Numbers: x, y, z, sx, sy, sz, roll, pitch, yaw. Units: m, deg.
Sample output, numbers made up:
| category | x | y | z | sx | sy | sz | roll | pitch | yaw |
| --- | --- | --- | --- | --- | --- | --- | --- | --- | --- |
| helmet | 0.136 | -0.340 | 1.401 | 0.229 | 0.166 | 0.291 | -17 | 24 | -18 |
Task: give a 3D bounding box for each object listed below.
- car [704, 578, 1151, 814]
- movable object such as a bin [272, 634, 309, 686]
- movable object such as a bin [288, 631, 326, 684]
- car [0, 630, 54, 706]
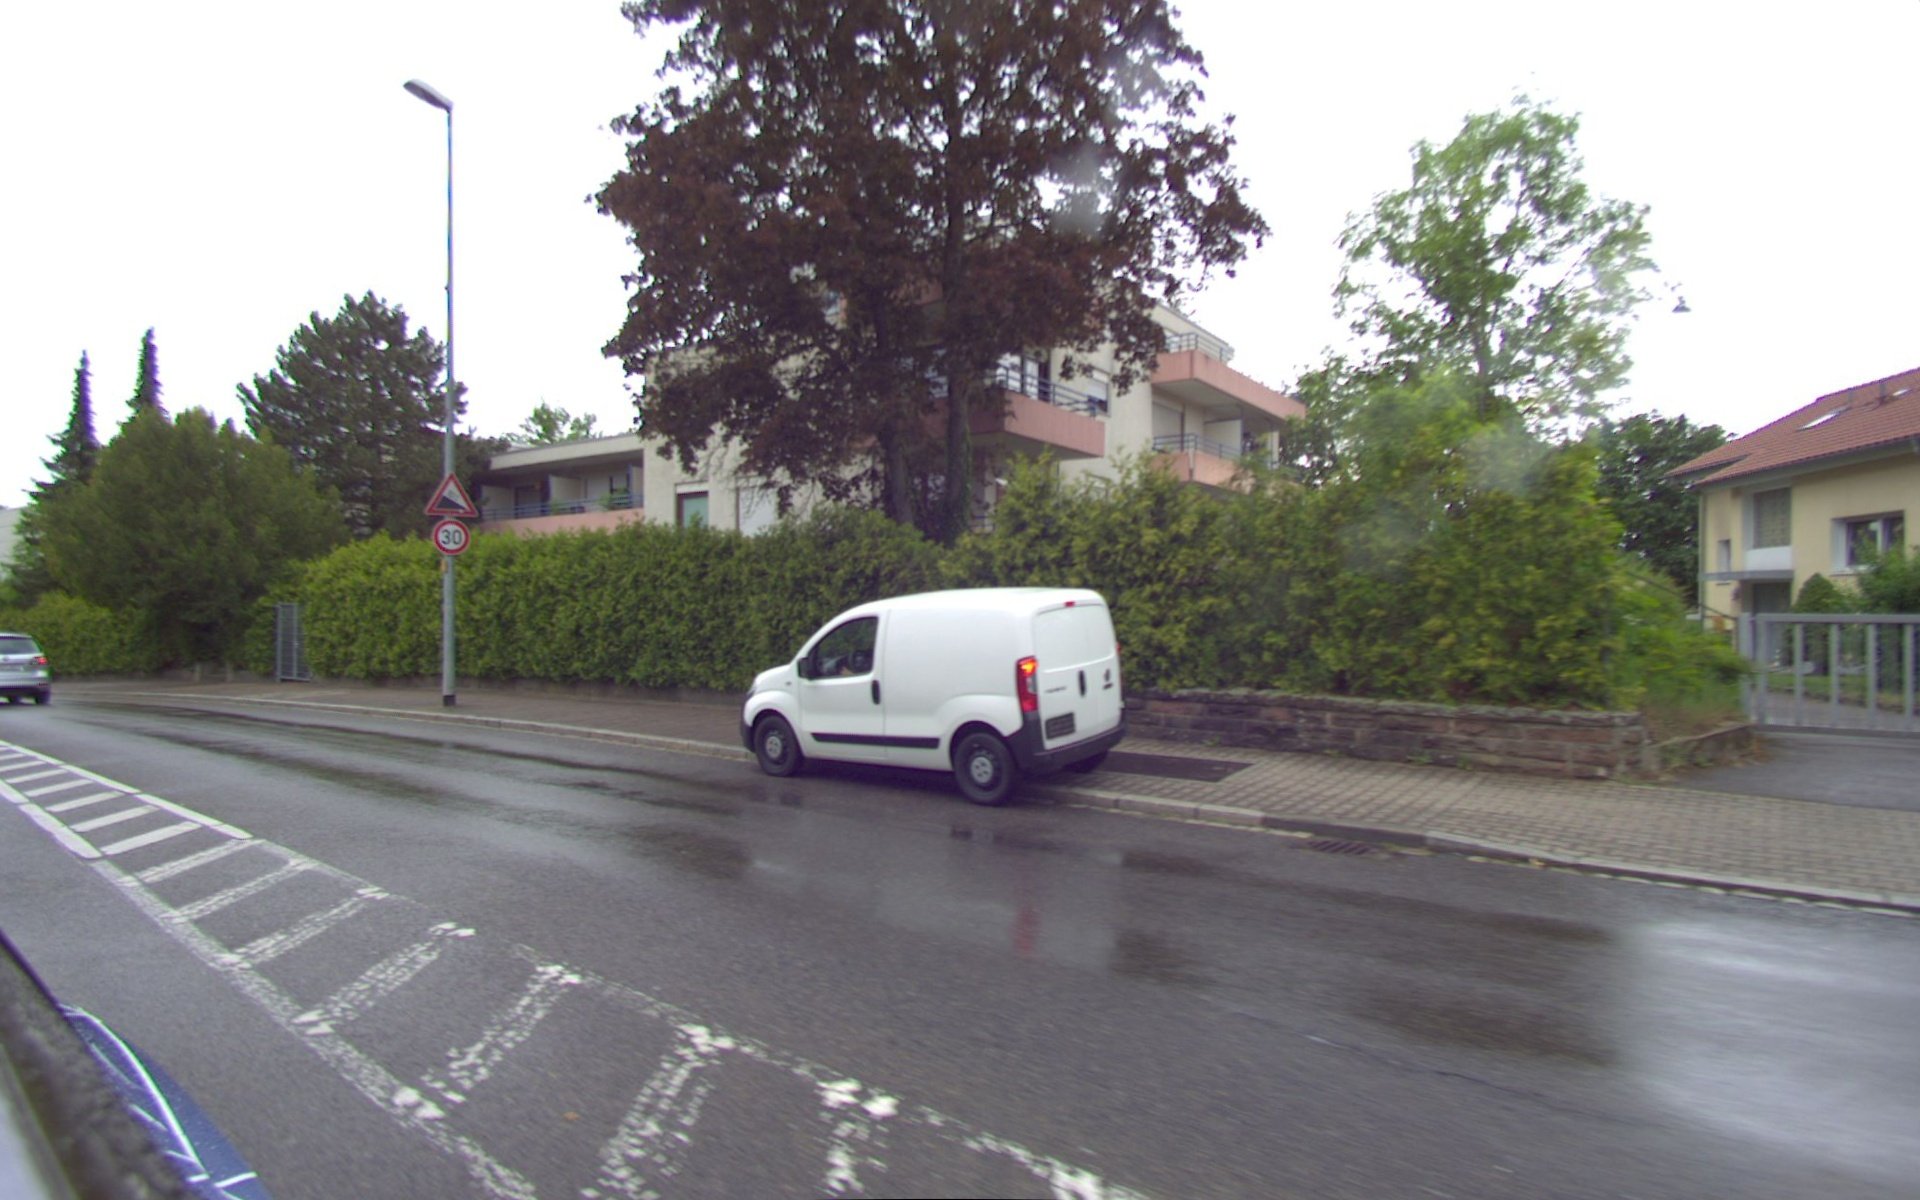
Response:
| category | x | y | z | sx | sy | sz | roll | pitch | yaw |
| --- | --- | --- | --- | --- | --- | --- | --- | --- | --- |
| car | -0.427 | 0.765 | 9.487 | 3.973 | 1.720 | 1.685 | -2 | 1 | 38 |
| movable object such as a bin | -17.955 | 1.611 | 27.132 | 0.804 | 1.336 | 0.543 | -4 | -2 | 35 |
| movable object such as a bin | -17.186 | 1.518 | 26.623 | 0.804 | 1.336 | 0.543 | -4 | -2 | 35 |
| car | -21.873 | 1.487 | 22.460 | 4.046 | 1.592 | 1.621 | -2 | -4 | 34 |
